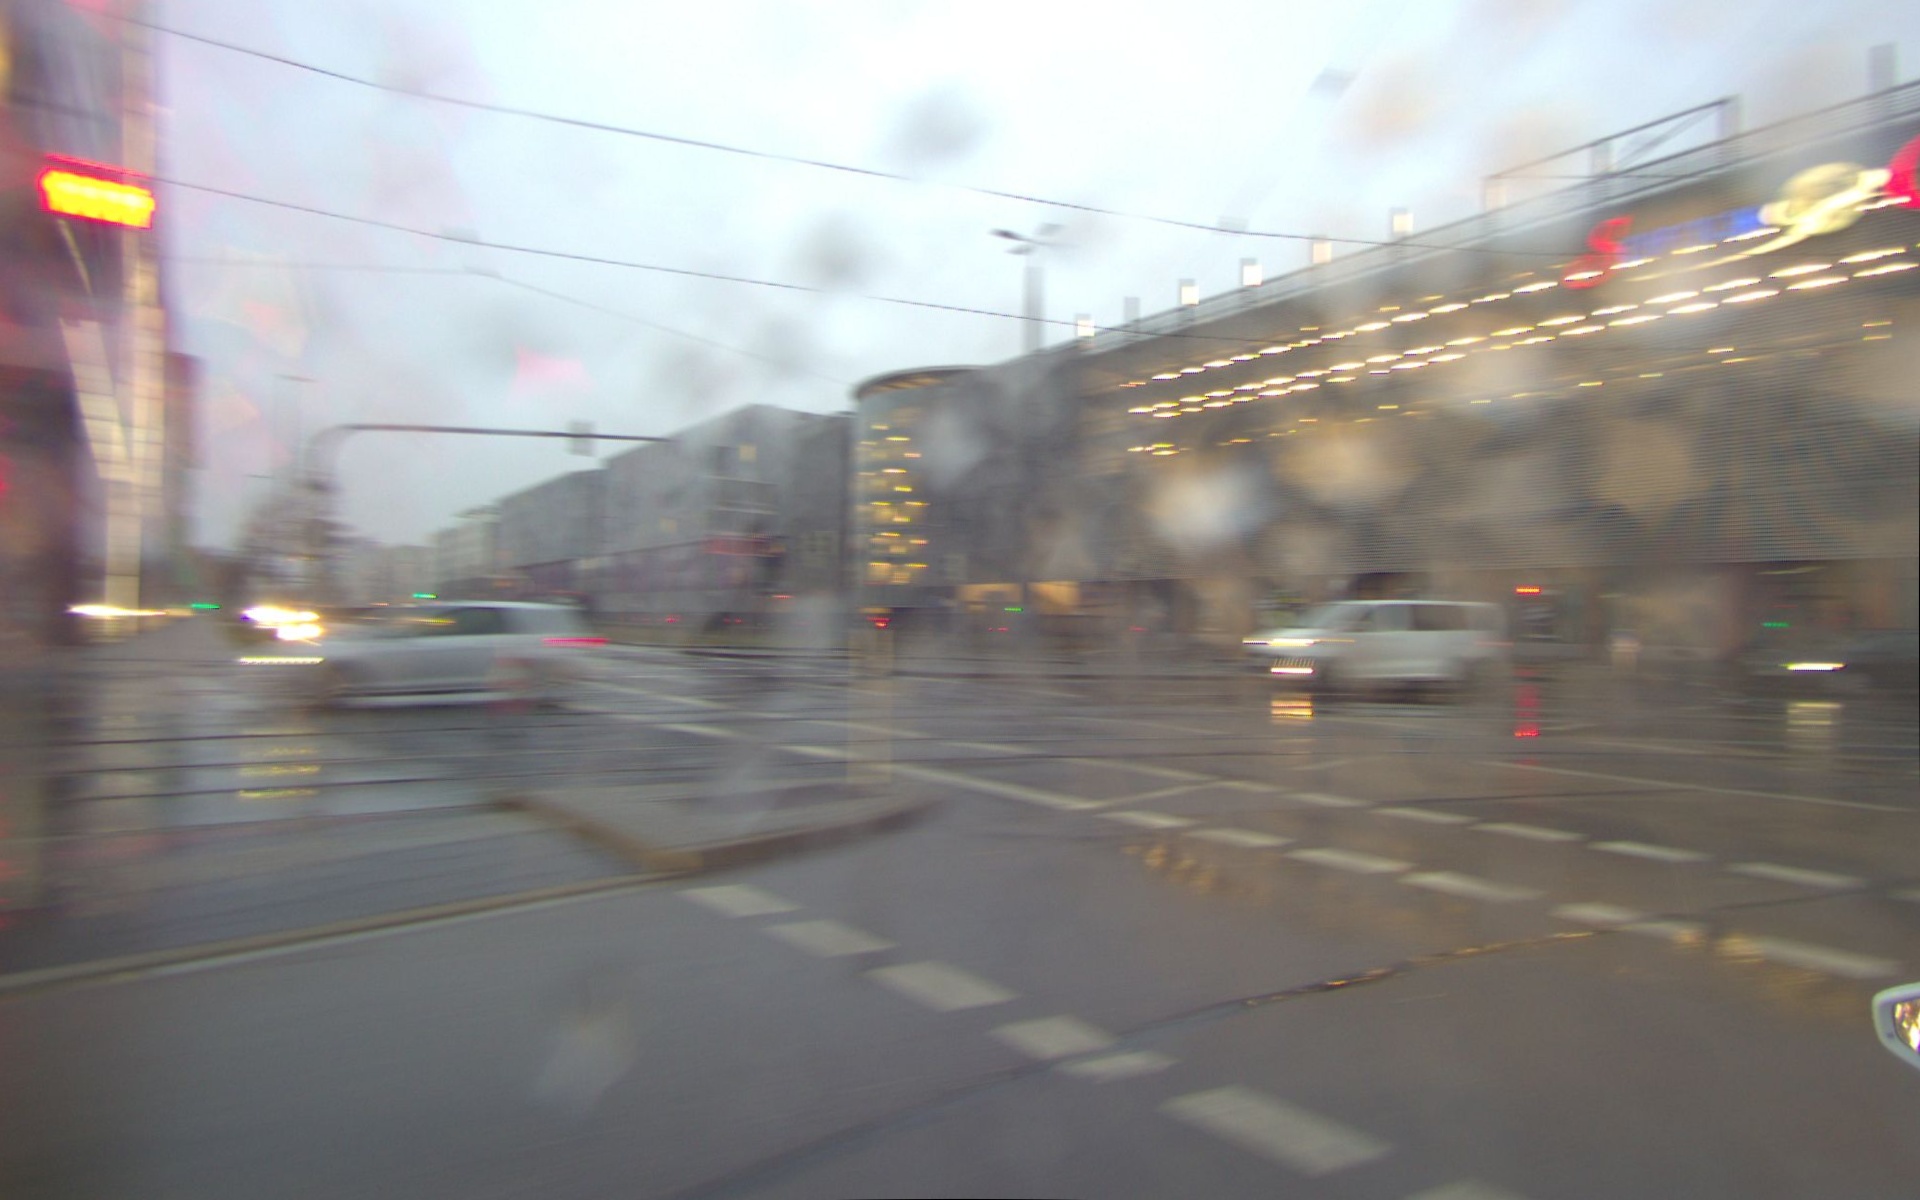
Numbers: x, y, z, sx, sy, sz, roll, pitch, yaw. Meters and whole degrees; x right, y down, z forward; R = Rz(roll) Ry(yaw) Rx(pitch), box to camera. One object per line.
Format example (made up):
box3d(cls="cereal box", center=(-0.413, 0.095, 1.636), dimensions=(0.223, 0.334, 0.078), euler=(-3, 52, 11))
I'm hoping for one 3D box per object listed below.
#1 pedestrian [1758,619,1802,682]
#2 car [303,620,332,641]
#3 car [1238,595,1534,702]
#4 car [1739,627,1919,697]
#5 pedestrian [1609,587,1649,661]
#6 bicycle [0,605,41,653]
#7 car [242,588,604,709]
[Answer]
box3d(cls="pedestrian", center=(33.414, 2.058, 40.938), dimensions=(0.957, 2.471, 1.102), euler=(2, 0, -36))
box3d(cls="car", center=(-53.911, 2.570, 84.262), dimensions=(1.817, 1.684, 3.958), euler=(2, -1, -37))
box3d(cls="car", center=(8.924, 1.028, 21.253), dimensions=(5.556, 2.086, 1.951), euler=(1, -1, -8))
box3d(cls="car", center=(20.301, 1.377, 22.491), dimensions=(4.334, 1.464, 1.630), euler=(1, -1, 5))
box3d(cls="pedestrian", center=(27.066, 0.968, 40.617), dimensions=(1.103, 2.964, 0.956), euler=(2, 0, -36))
box3d(cls="bicycle", center=(-22.156, 0.656, 22.994), dimensions=(1.586, 1.084, 0.636), euler=(1, -1, -37))
box3d(cls="car", center=(-7.504, 0.666, 14.372), dimensions=(4.290, 1.505, 1.852), euler=(2, -1, -30))
